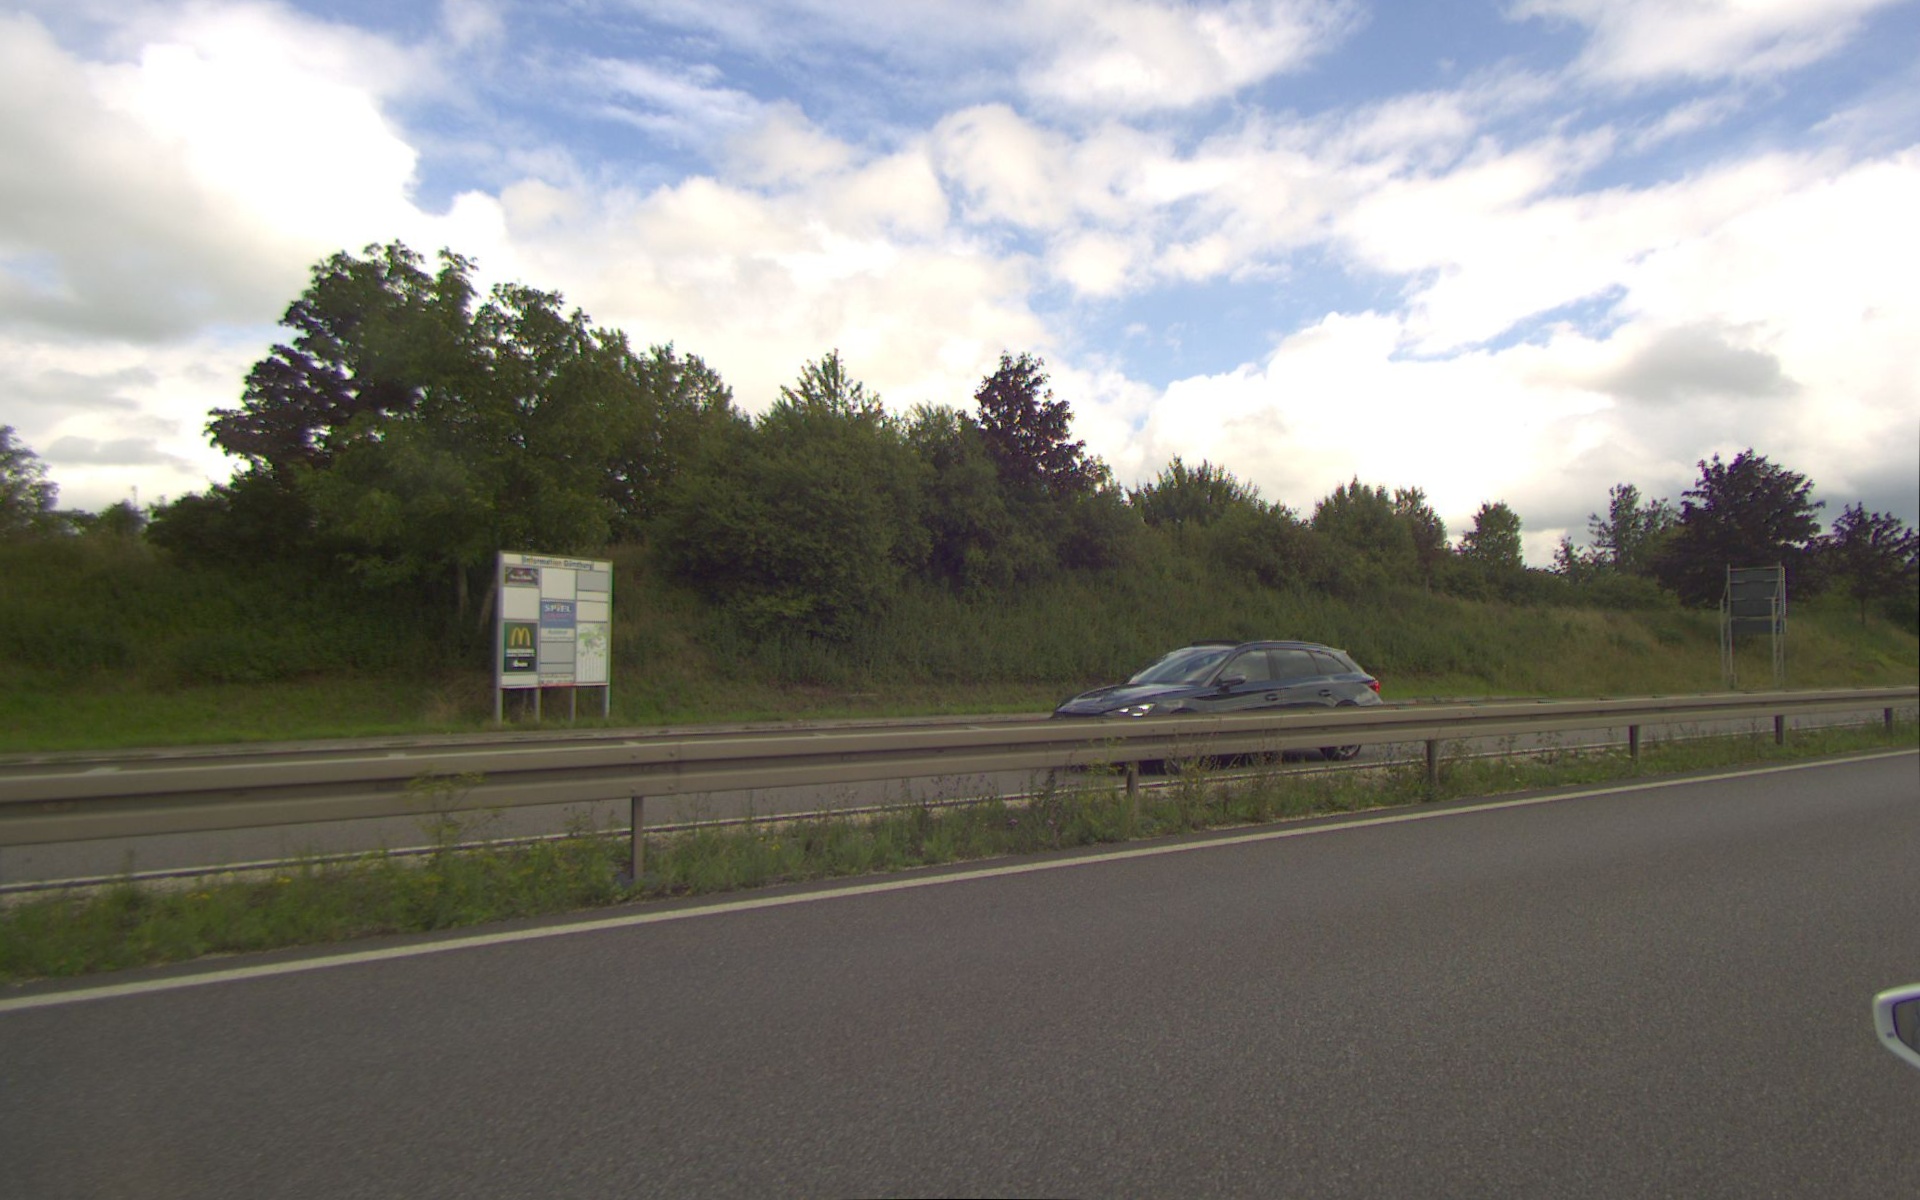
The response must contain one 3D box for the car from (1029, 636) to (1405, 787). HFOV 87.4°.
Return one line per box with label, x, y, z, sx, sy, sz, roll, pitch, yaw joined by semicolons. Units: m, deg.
car;3.198;1.217;12.247;4.522;1.505;1.746;1;-2;-30
